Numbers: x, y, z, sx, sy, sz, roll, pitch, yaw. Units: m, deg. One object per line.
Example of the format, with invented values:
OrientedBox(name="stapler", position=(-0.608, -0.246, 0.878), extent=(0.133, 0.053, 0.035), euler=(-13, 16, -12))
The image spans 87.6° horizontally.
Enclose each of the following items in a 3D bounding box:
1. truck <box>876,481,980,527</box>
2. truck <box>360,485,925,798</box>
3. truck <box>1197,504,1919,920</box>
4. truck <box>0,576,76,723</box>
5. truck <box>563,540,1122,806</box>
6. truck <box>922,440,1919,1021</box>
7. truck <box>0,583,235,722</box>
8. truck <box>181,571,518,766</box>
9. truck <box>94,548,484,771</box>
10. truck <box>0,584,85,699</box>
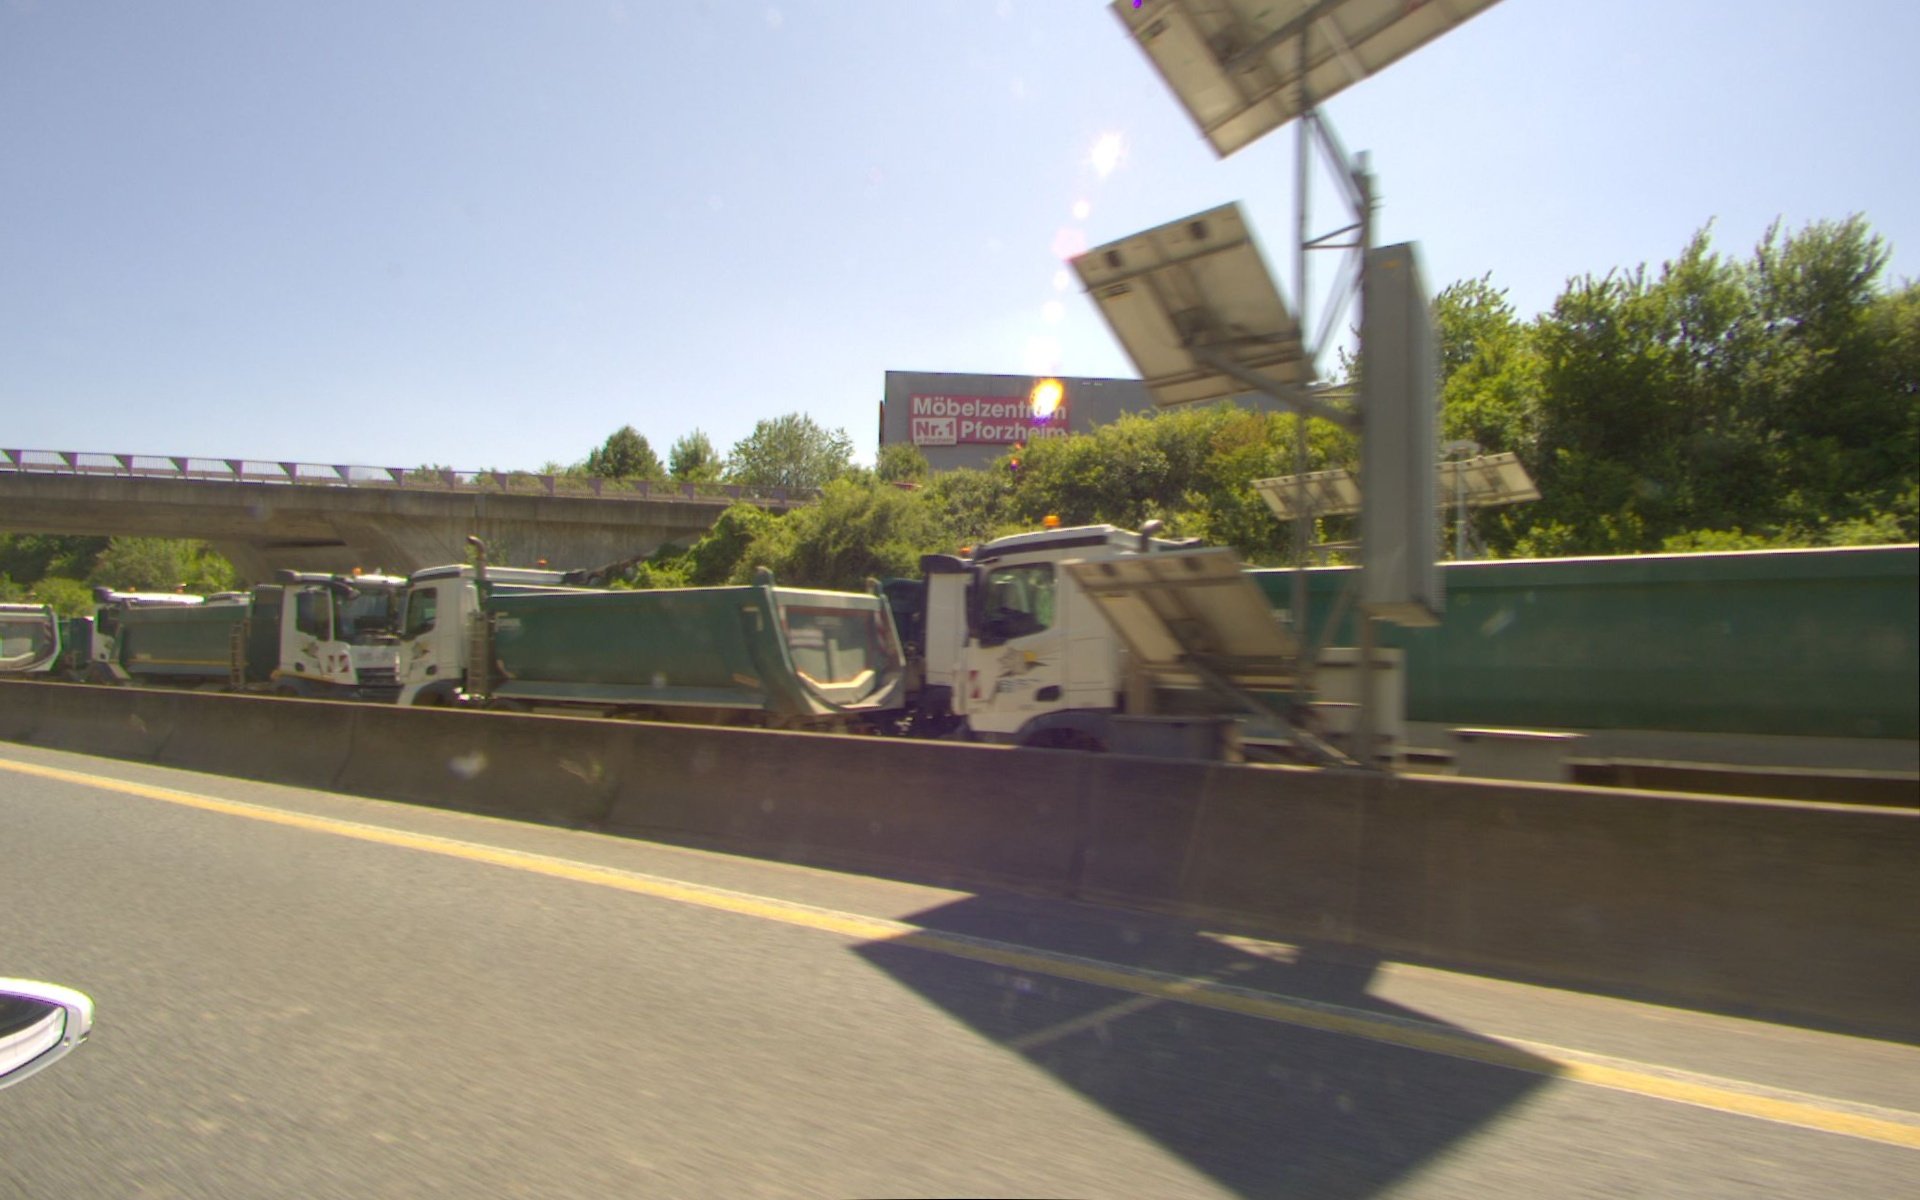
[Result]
OrientedBox(name="truck", position=(-1.738, -5.108, 53.359), extent=(5.409, 2.092, 1.937), euler=(0, -2, -7))
OrientedBox(name="truck", position=(-5.110, 0.582, 15.057), extent=(9.188, 3.602, 2.684), euler=(-1, -2, 31))
OrientedBox(name="truck", position=(7.424, 0.985, 10.138), extent=(9.466, 3.420, 2.683), euler=(-1, -2, 33))
OrientedBox(name="truck", position=(-28.664, 1.348, 28.419), extent=(9.188, 3.808, 2.684), euler=(-1, -2, 31))
OrientedBox(name="truck", position=(-2.277, 1.048, 16.494), extent=(9.460, 3.421, 2.684), euler=(-1, -2, 31))
OrientedBox(name="truck", position=(4.224, 0.892, 8.921), extent=(9.272, 3.602, 2.683), euler=(-1, -2, 33))
OrientedBox(name="truck", position=(-25.238, 1.476, 29.635), extent=(9.188, 3.602, 2.684), euler=(-1, -2, 31))
OrientedBox(name="truck", position=(-14.317, 1.448, 23.158), extent=(9.188, 3.808, 2.684), euler=(-1, -2, 31))
OrientedBox(name="truck", position=(-13.437, 1.067, 19.720), extent=(9.188, 3.602, 2.684), euler=(-1, -2, 31))
OrientedBox(name="truck", position=(-35.067, 1.456, 35.993), extent=(9.188, 3.774, 2.684), euler=(-1, -2, 31))
